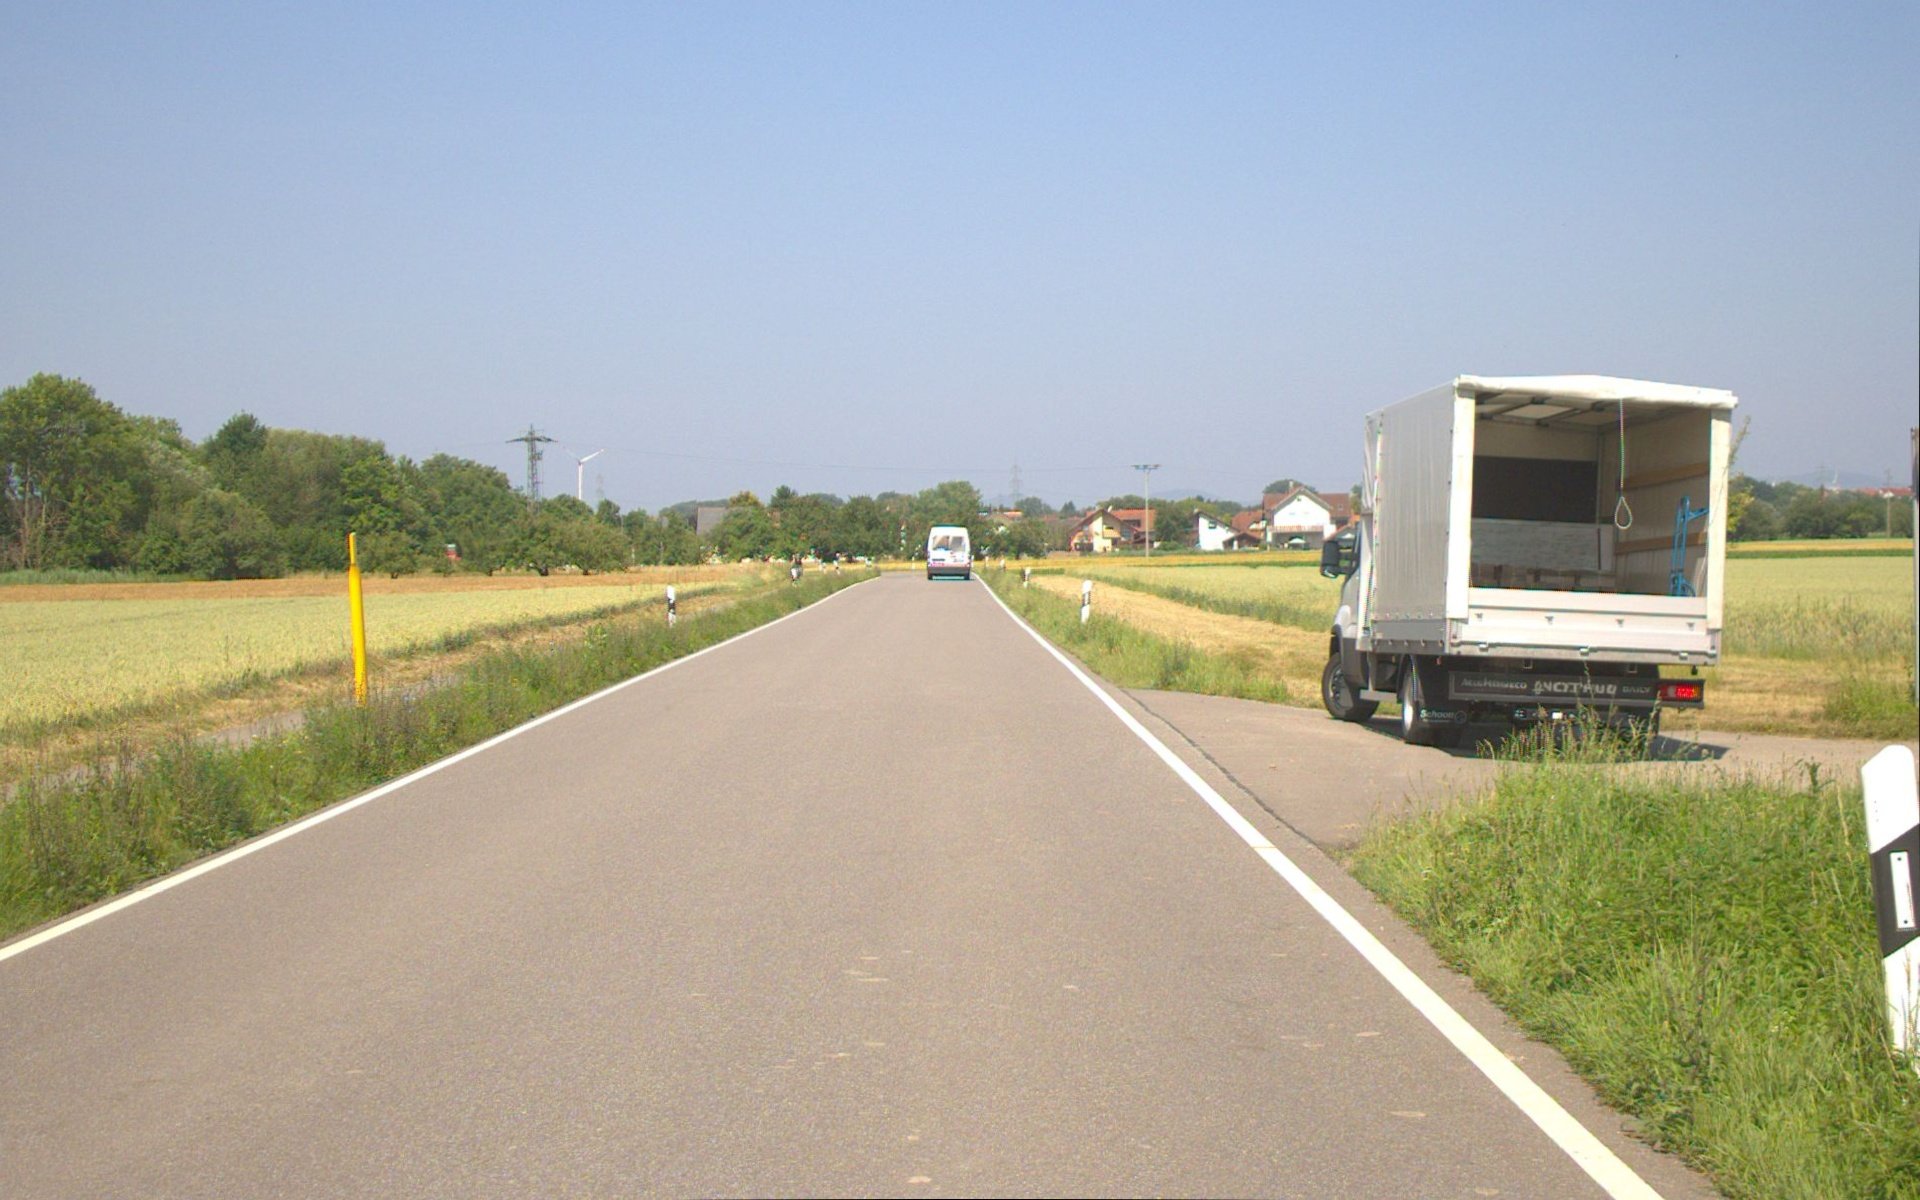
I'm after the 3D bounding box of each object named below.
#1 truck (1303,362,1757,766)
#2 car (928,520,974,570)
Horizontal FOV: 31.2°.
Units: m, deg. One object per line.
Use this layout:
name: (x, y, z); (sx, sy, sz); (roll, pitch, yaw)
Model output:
truck: (4.624, -0.320, 29.272); (2.335, 2.932, 7.009); (2, 1, -2)
car: (-0.436, -2.576, 162.025); (2.107, 2.296, 5.496); (1, 1, 0)
